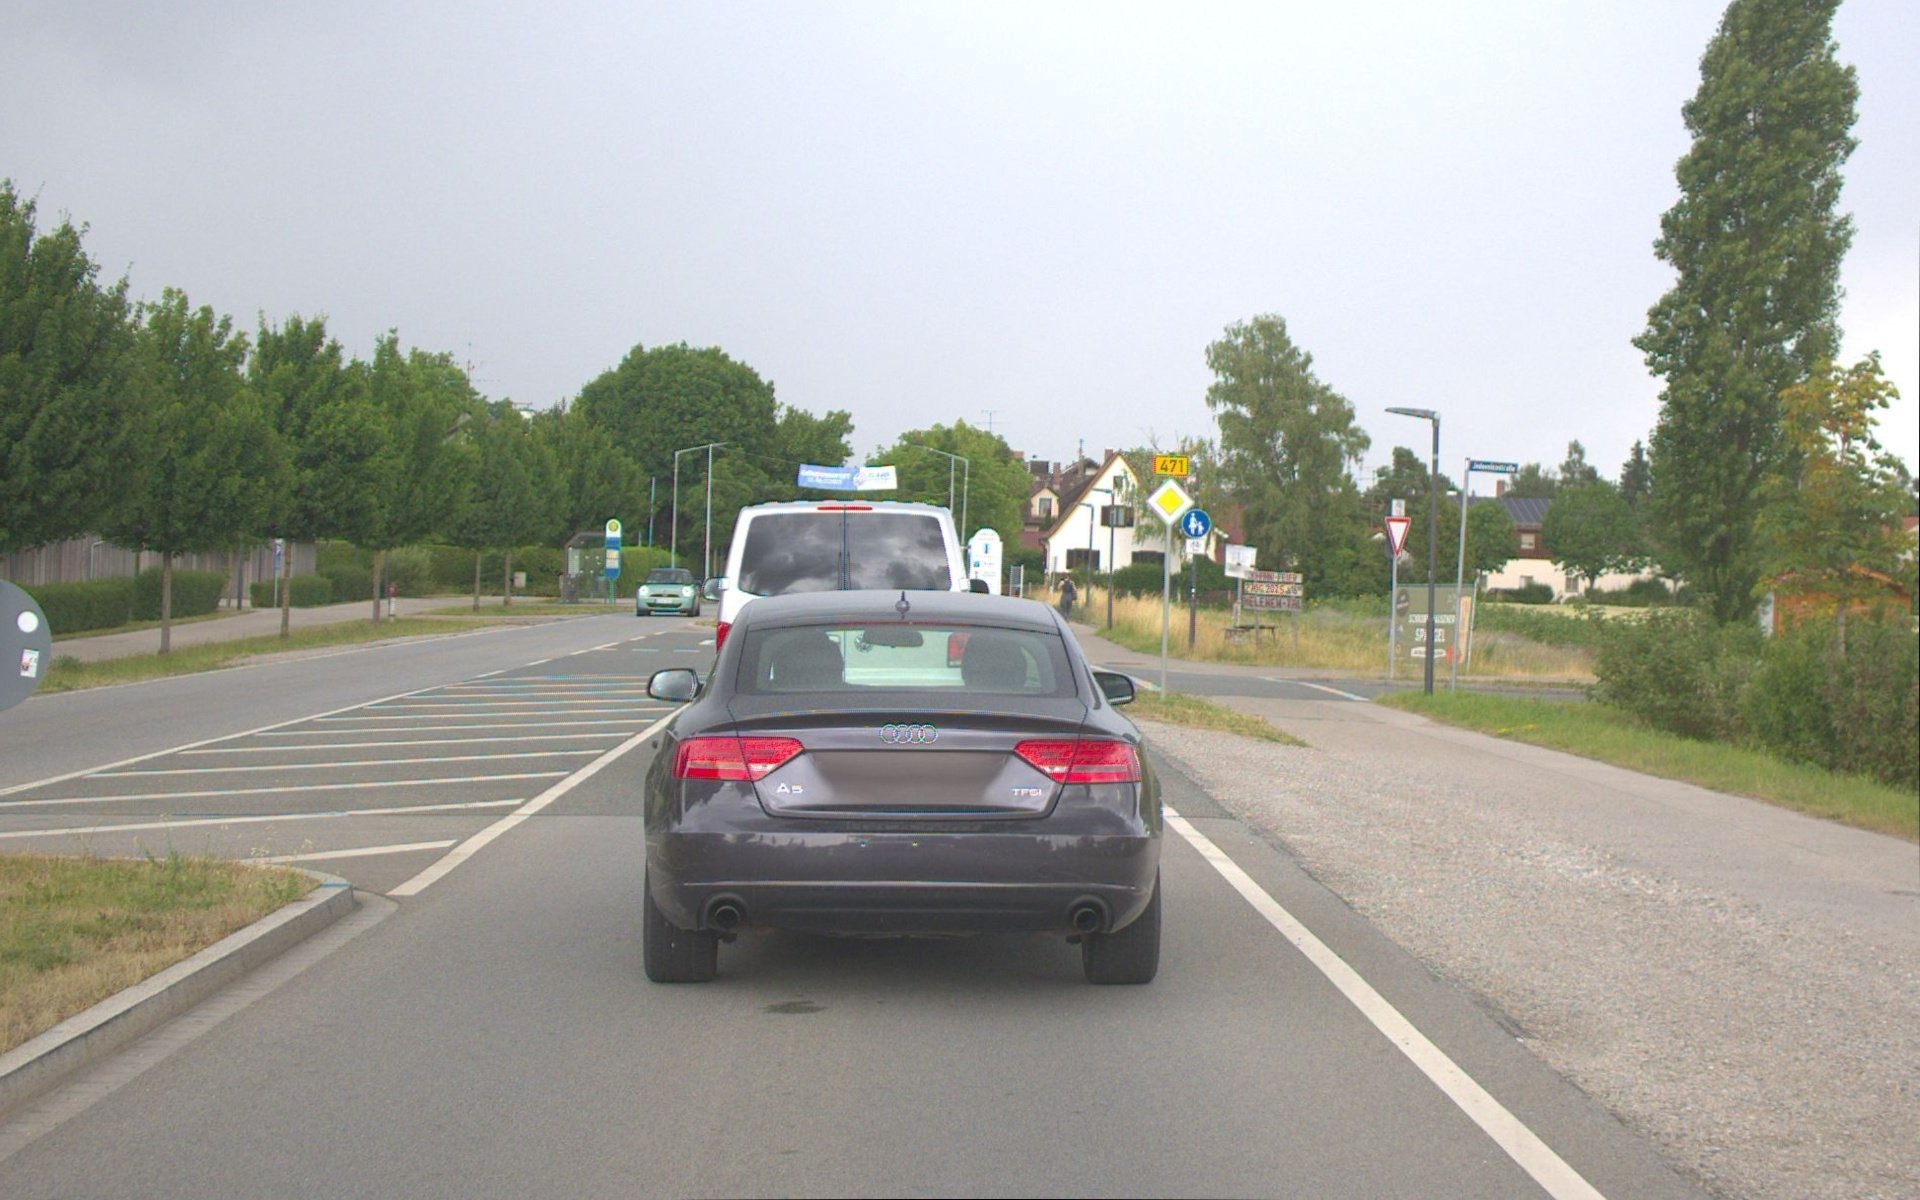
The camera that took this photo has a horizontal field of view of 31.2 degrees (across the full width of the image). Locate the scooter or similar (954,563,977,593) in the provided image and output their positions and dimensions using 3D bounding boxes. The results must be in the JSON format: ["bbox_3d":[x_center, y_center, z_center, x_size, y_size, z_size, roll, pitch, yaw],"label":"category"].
[{"bbox_3d":[0.201,-0.817,127.399,0.848,1.100,1.094,0,1,-1],"label":"scooter or similar"}]

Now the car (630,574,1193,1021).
[{"bbox_3d":[-0.355,0.617,13.323,1.825,1.384,4.388,0,1,-5],"label":"car"}]

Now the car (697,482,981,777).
[{"bbox_3d":[-0.904,0.168,25.194,1.825,1.907,4.001,3,1,-3],"label":"car"}]

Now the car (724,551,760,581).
[{"bbox_3d":[-10.685,-1.674,168.604,1.653,1.424,3.602,0,1,-1],"label":"car"}]

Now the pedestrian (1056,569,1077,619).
[{"bbox_3d":[3.267,-0.182,105.469,0.623,1.519,0.680,0,1,-1],"label":"pedestrian"}]

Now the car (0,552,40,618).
[{"bbox_3d":[-24.929,-0.455,84.550,3.987,1.551,2.000,3,1,1],"label":"car"}]

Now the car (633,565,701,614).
[{"bbox_3d":[-8.774,-0.329,103.259,1.770,1.439,4.000,0,1,-1],"label":"car"}]
